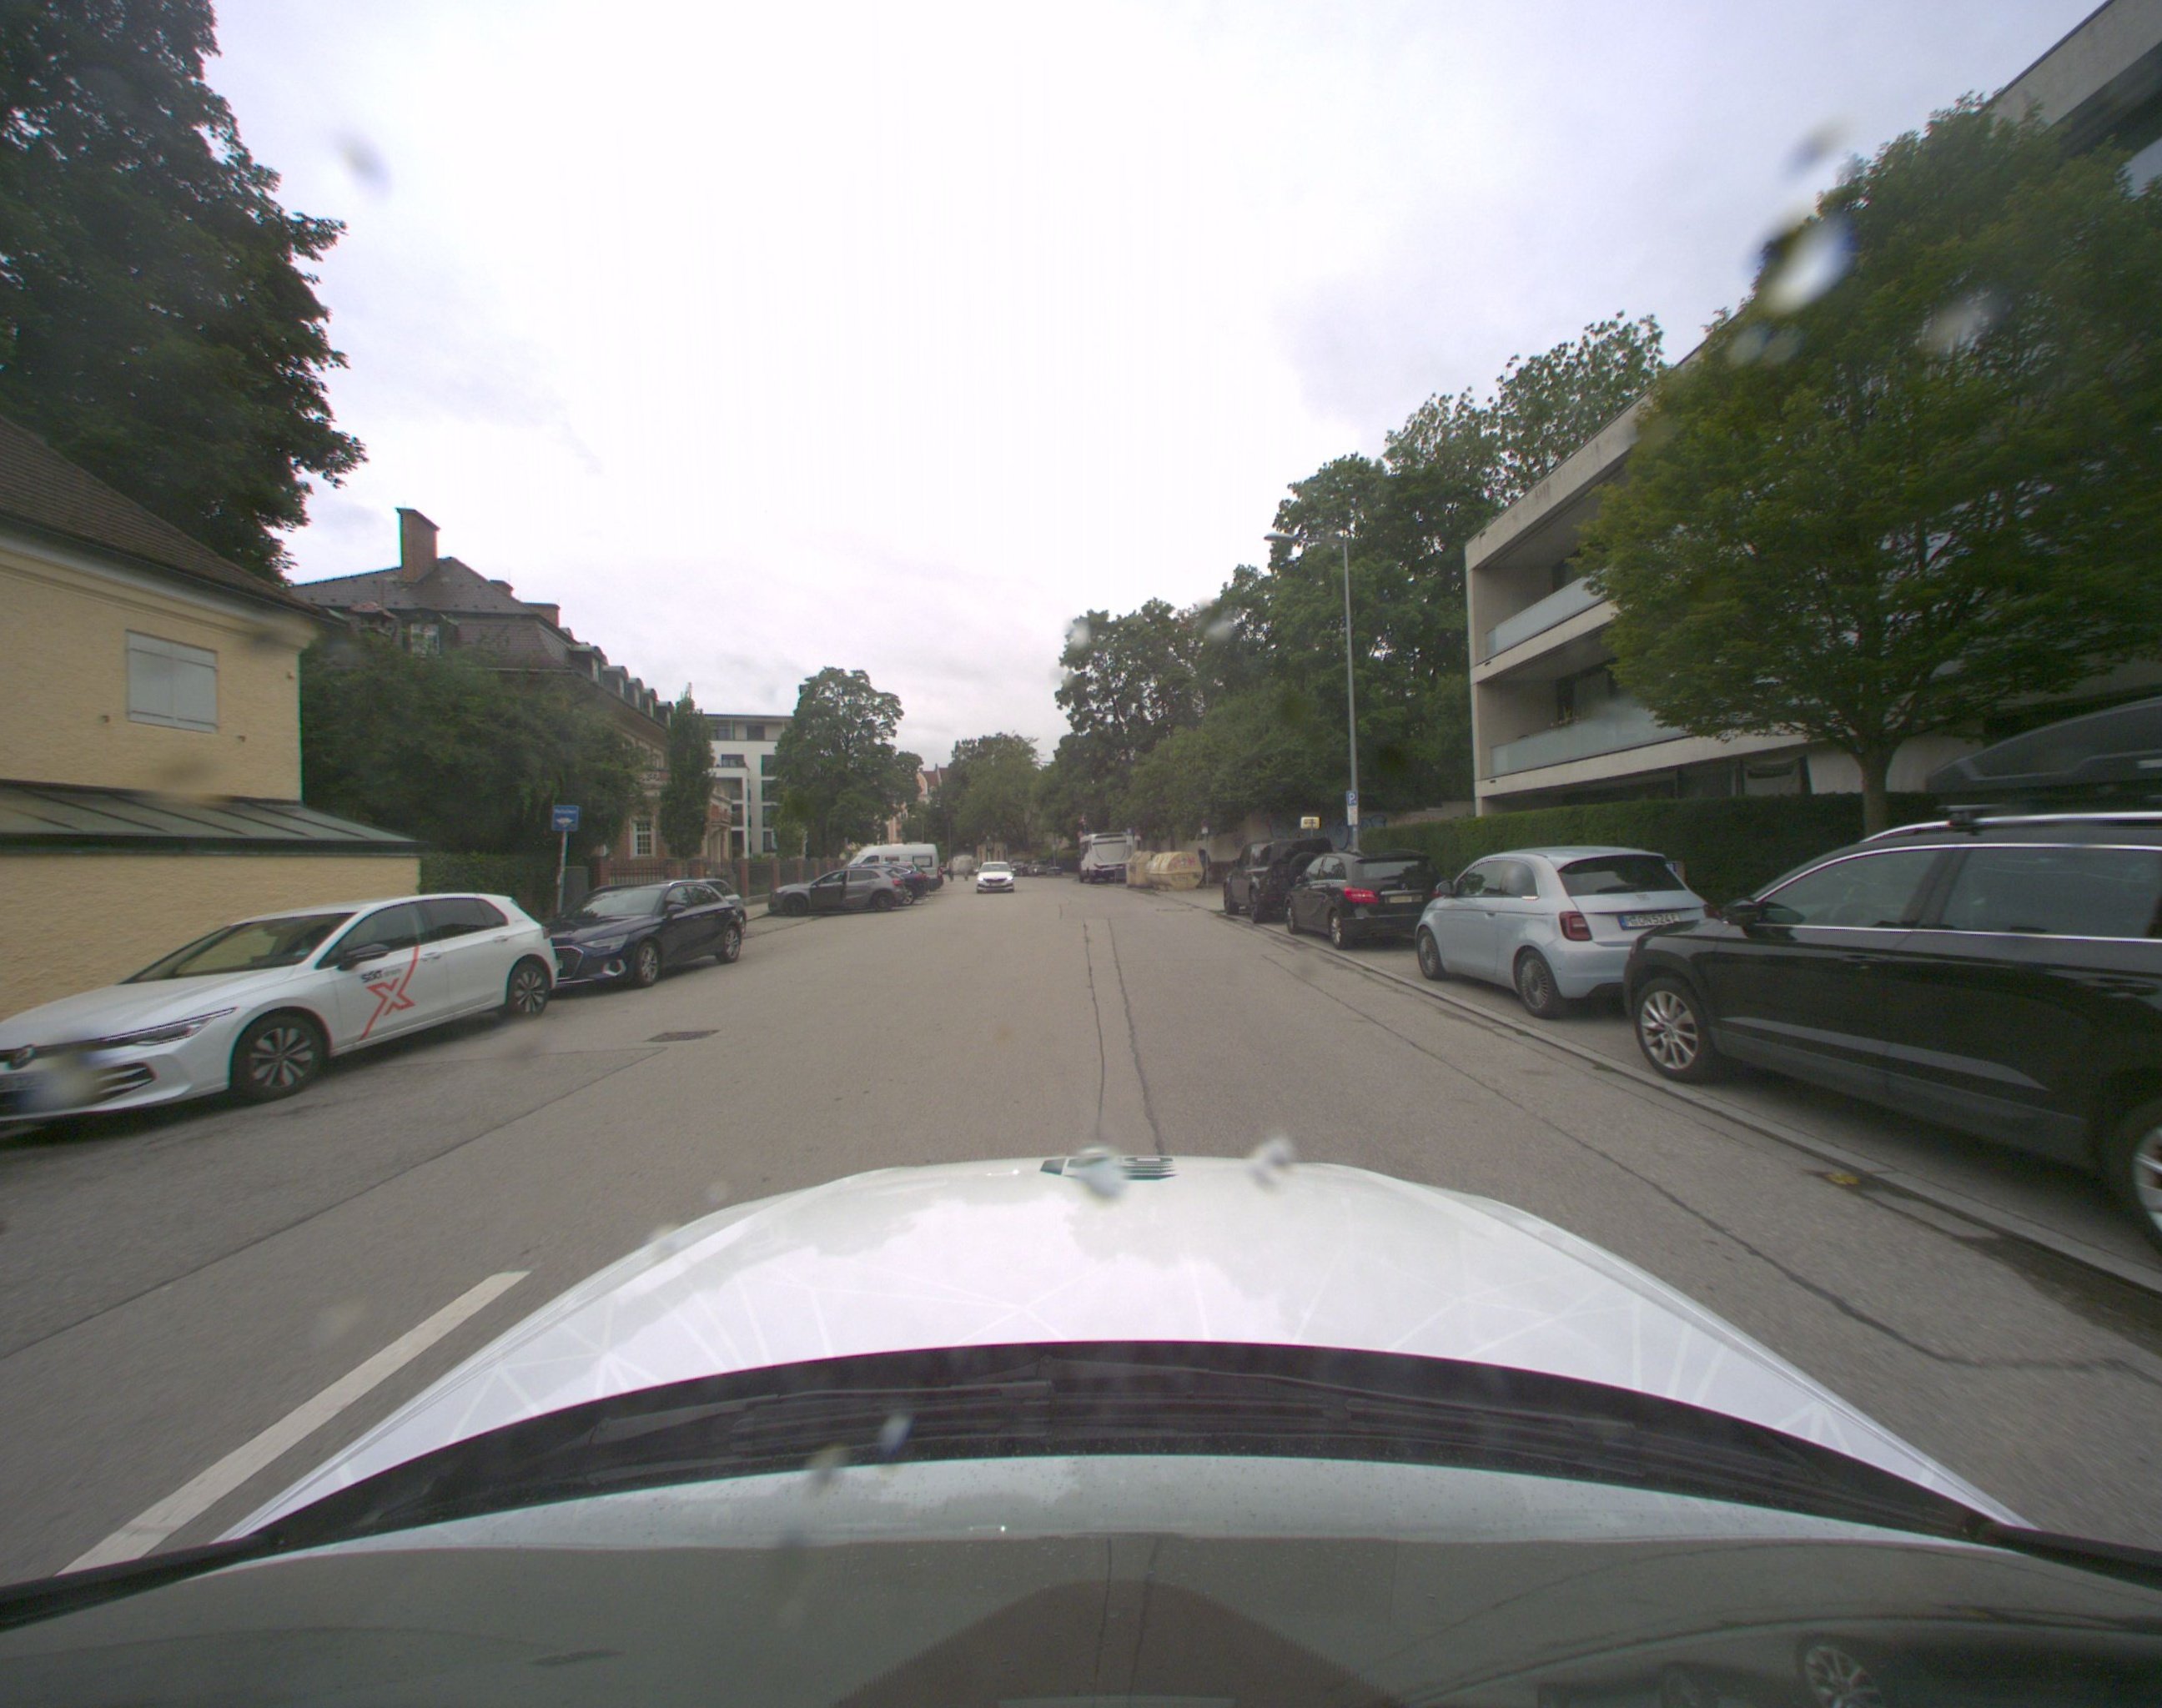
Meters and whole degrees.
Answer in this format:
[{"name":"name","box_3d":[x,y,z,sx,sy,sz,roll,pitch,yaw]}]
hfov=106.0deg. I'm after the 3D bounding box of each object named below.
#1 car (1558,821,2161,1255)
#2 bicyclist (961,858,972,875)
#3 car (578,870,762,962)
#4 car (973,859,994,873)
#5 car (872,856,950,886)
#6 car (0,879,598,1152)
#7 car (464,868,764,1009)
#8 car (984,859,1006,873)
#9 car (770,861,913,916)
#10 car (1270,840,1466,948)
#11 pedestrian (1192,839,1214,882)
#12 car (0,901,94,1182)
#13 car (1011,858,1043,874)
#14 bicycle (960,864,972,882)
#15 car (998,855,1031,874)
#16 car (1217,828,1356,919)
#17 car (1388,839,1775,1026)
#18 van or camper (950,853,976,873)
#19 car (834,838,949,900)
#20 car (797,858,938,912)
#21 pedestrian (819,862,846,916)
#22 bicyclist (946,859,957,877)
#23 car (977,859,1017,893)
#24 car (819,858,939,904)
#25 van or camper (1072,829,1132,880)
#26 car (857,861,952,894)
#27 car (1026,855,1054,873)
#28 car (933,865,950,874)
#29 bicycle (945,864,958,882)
[{"name":"car","box_3d":[4.571,0.596,4.077,1.741,1.480,4.599,-2,0,1]},{"name":"bicyclist","box_3d":[-8.981,0.969,63.692,0.697,1.352,0.926,-2,0,-13]},{"name":"car","box_3d":[-8.652,1.216,17.603,1.735,1.535,4.148,-4,0,0]},{"name":"car","box_3d":[-11.837,1.488,98.776,1.712,1.537,4.213,-4,0,-18]},{"name":"car","box_3d":[-11.201,1.123,53.817,4.550,1.665,1.964,-3,0,-39]},{"name":"car","box_3d":[-6.855,1.147,7.545,1.838,1.535,4.523,-4,0,2]},{"name":"car","box_3d":[-6.723,1.097,12.463,1.839,1.535,4.561,-4,0,0]},{"name":"car","box_3d":[-9.981,1.431,94.016,1.690,1.441,3.975,-3,-1,-18]},{"name":"car","box_3d":[-7.801,1.110,26.968,4.335,1.530,1.925,-2,-1,-13]},{"name":"car","box_3d":[4.811,0.596,14.415,1.743,1.539,4.567,-2,0,-1]},{"name":"pedestrian","box_3d":[5.716,0.298,38.174,0.797,1.985,0.627,-2,0,-15]},{"name":"car","box_3d":[-7.006,1.105,2.724,1.838,1.535,4.442,-5,-1,2]},{"name":"car","box_3d":[-5.388,1.187,80.642,1.885,1.427,4.191,-4,0,-22]},{"name":"bicycle","box_3d":[-9.006,1.470,63.848,0.707,1.305,2.109,-2,0,-12]},{"name":"car","box_3d":[-6.969,1.109,84.978,2.002,1.711,4.849,-4,0,-22]},{"name":"car","box_3d":[4.781,0.452,19.786,1.982,1.871,5.075,-1,-1,-1]},{"name":"car","box_3d":[4.881,0.644,8.690,1.742,1.480,3.888,-2,0,1]},{"name":"van or camper","box_3d":[-16.060,1.256,110.629,2.200,2.550,5.689,-3,0,-20]},{"name":"car","box_3d":[-8.773,0.655,37.841,4.655,2.563,2.211,-3,0,-33]},{"name":"car","box_3d":[-7.764,1.095,29.733,4.544,1.593,1.945,-4,0,-33]},{"name":"pedestrian","box_3d":[-7.837,1.096,25.707,0.589,1.648,0.713,-4,-1,-6]},{"name":"bicyclist","box_3d":[-10.107,1.087,63.417,0.698,1.397,0.924,-2,0,-18]},{"name":"car","box_3d":[-4.005,1.024,39.163,1.769,1.475,4.126,-2,0,-5]},{"name":"car","box_3d":[-8.612,1.132,34.822,4.544,1.625,1.946,-3,-1,-33]},{"name":"van or camper","box_3d":[1.197,0.035,51.070,2.273,2.906,7.250,-2,0,-10]},{"name":"car","box_3d":[-9.492,1.230,43.860,4.548,1.451,1.955,-3,0,-37]},{"name":"car","box_3d":[-3.888,0.996,76.814,1.746,1.536,2.924,-4,-1,-22]},{"name":"car","box_3d":[-21.924,2.421,127.881,1.713,1.408,4.102,-3,0,-20]},{"name":"bicycle","box_3d":[-10.107,1.485,63.431,0.709,1.305,2.106,-2,0,-17]}]
